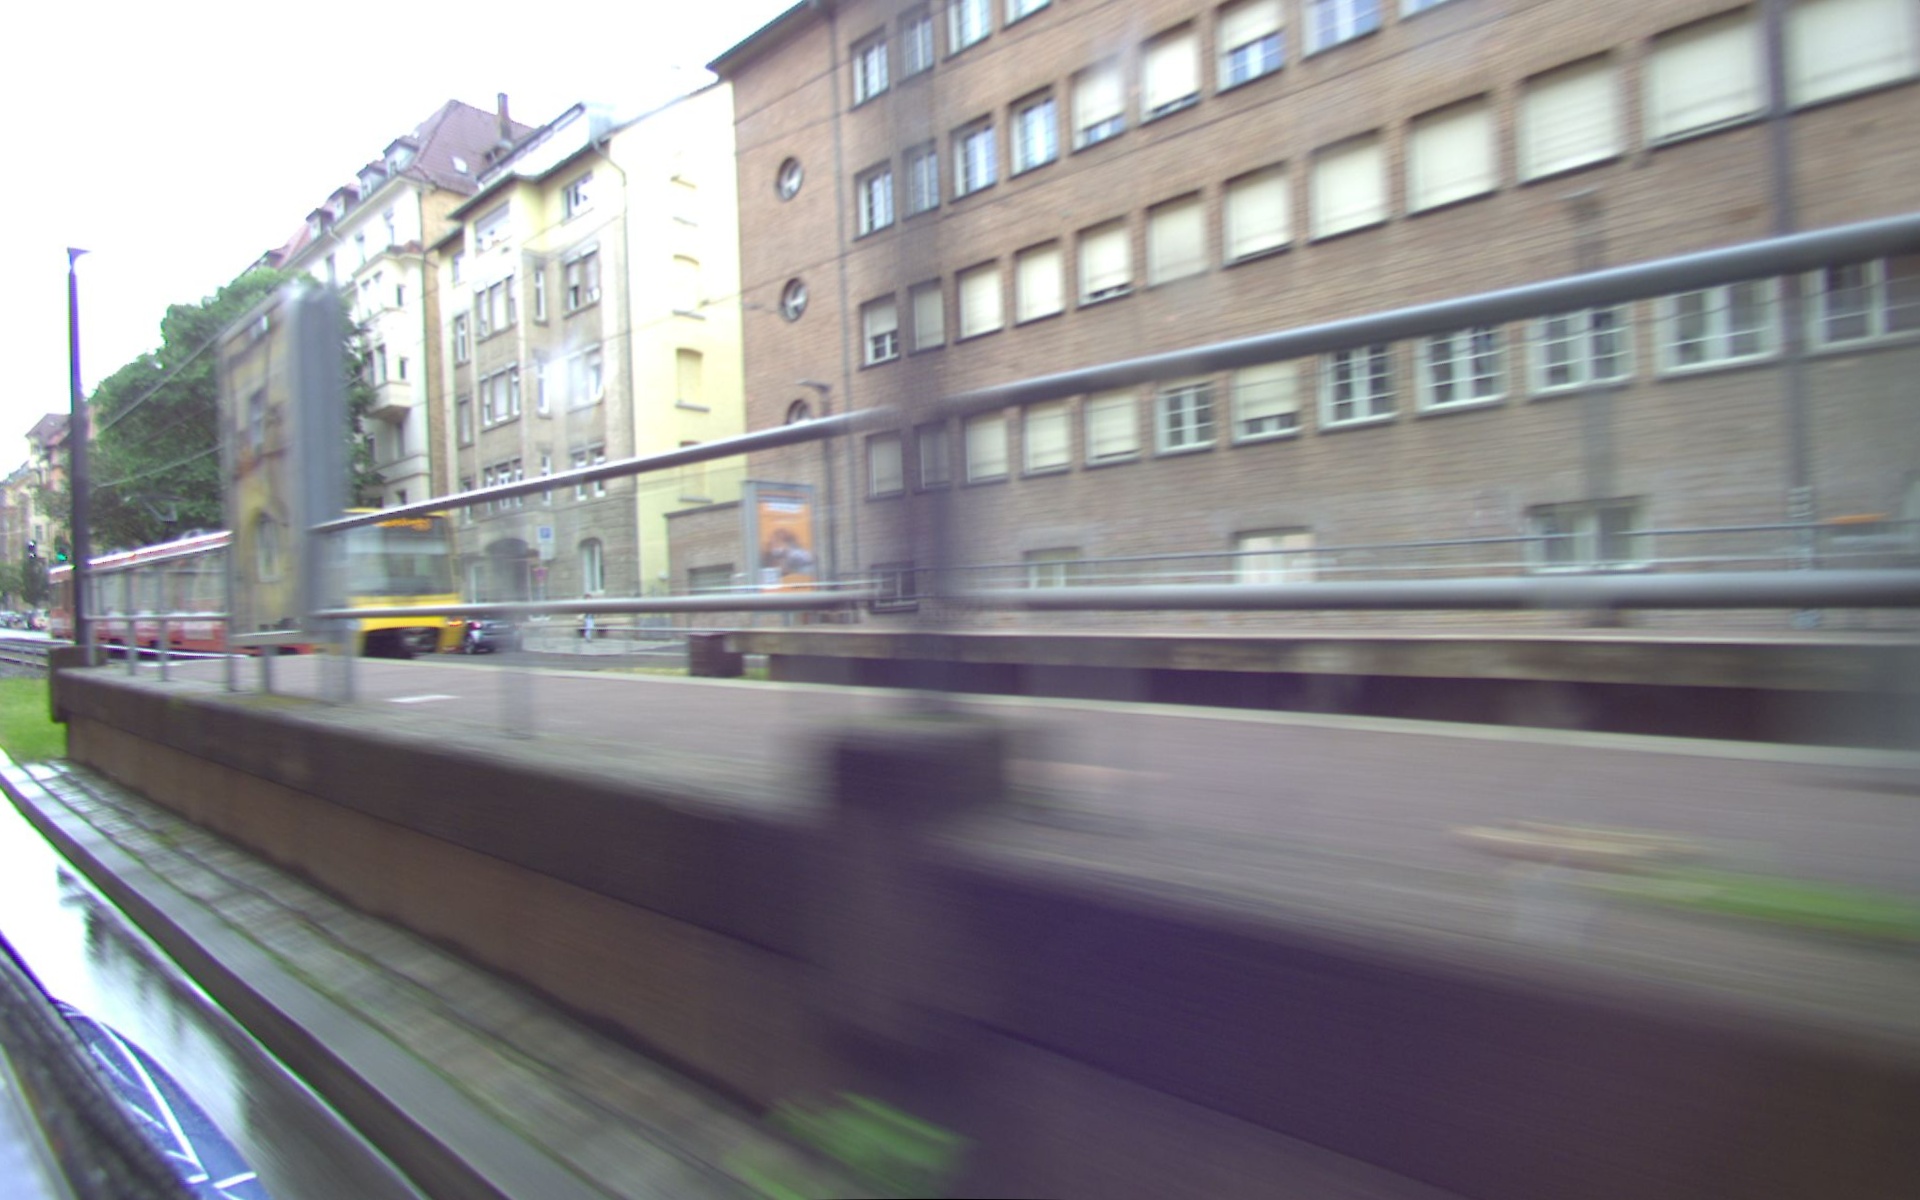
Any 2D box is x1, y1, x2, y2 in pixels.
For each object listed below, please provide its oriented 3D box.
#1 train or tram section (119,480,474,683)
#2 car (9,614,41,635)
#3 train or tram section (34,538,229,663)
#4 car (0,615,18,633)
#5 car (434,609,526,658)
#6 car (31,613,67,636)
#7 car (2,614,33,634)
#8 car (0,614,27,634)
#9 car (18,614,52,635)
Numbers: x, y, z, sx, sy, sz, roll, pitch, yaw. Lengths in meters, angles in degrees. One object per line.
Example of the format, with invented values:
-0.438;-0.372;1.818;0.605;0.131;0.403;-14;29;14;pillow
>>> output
-18.772;-0.250;27.175;19.852;3.950;2.687;-1;0;41;train or tram section
-94.430;2.465;102.224;3.998;1.984;1.973;-2;0;41;car
-32.864;0.124;39.501;19.288;3.950;2.687;-1;0;41;train or tram section
-106.480;2.675;112.638;3.998;1.984;1.973;-2;0;41;car
-15.504;1.067;32.632;3.111;1.477;1.626;-1;0;43;car
-83.437;2.274;92.704;3.998;1.984;1.973;-2;0;41;car
-98.655;2.538;105.970;3.998;1.984;1.973;-2;0;41;car
-102.073;2.598;108.918;3.998;1.984;1.973;-2;0;41;car
-89.143;2.374;97.543;3.998;1.984;1.973;-2;0;41;car
